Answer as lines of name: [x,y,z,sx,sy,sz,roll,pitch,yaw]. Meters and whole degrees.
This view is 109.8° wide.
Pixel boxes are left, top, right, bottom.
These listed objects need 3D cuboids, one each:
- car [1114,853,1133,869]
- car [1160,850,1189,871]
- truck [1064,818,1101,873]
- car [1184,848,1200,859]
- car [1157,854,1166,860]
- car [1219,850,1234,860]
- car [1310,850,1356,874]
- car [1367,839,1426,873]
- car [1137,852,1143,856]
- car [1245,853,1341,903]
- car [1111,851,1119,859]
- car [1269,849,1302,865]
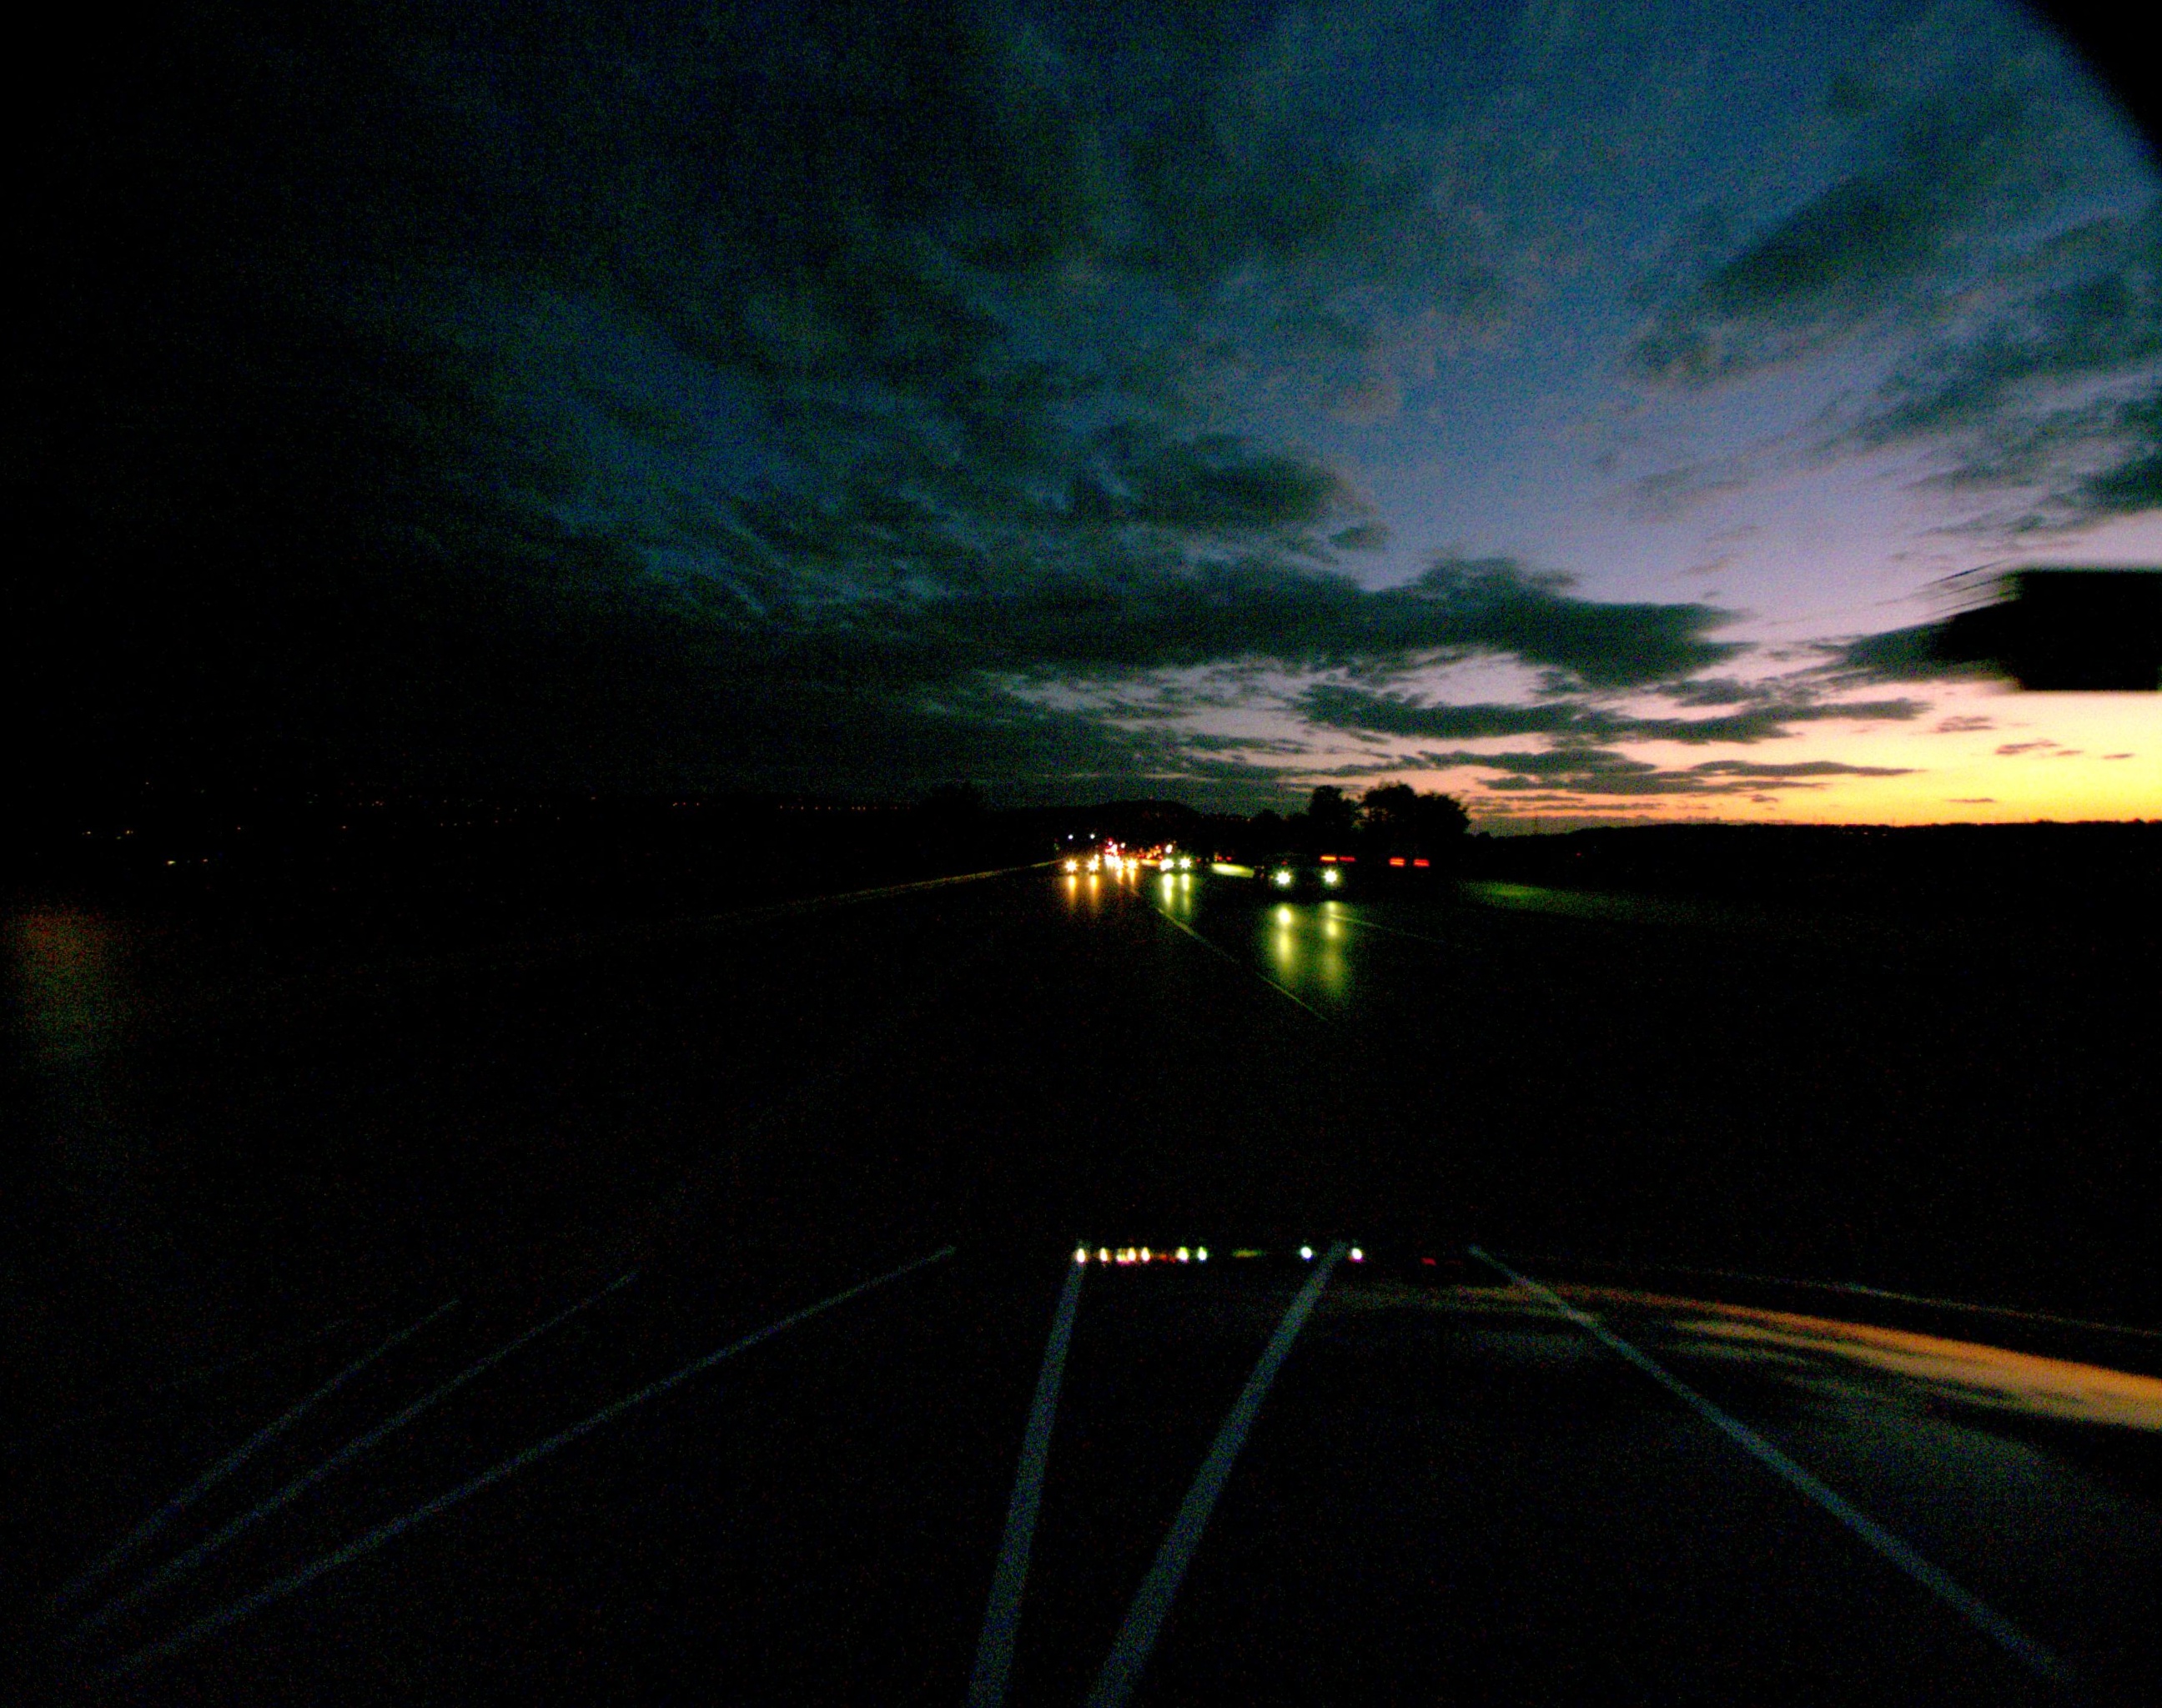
car: [4.575,0.733,82.061,1.802,1.531,4.159,-2,1,0]
car: [7.947,0.534,64.876,1.819,1.638,4.856,-2,1,0]
truck: [0.176,-0.709,71.180,3.012,4.570,12.578,-2,0,0]
car: [16.733,-0.096,114.359,1.703,1.608,4.626,-2,1,1]
car: [20.616,0.785,194.435,1.864,1.445,4.274,-2,1,0]
car: [24.861,0.193,130.016,1.664,1.634,4.793,-2,1,1]
car: [16.228,0.494,49.106,1.737,1.362,3.900,-2,1,1]
car: [23.852,0.100,57.725,1.998,2.374,5.835,-2,1,1]
car: [20.910,0.009,267.215,1.748,1.354,4.111,-2,1,0]
car: [7.186,0.741,26.387,1.819,1.429,5.394,-2,1,0]
car: [8.926,0.308,197.491,1.862,1.826,3.999,-2,1,0]
car: [20.120,0.277,74.773,1.998,1.404,4.658,-2,1,1]
